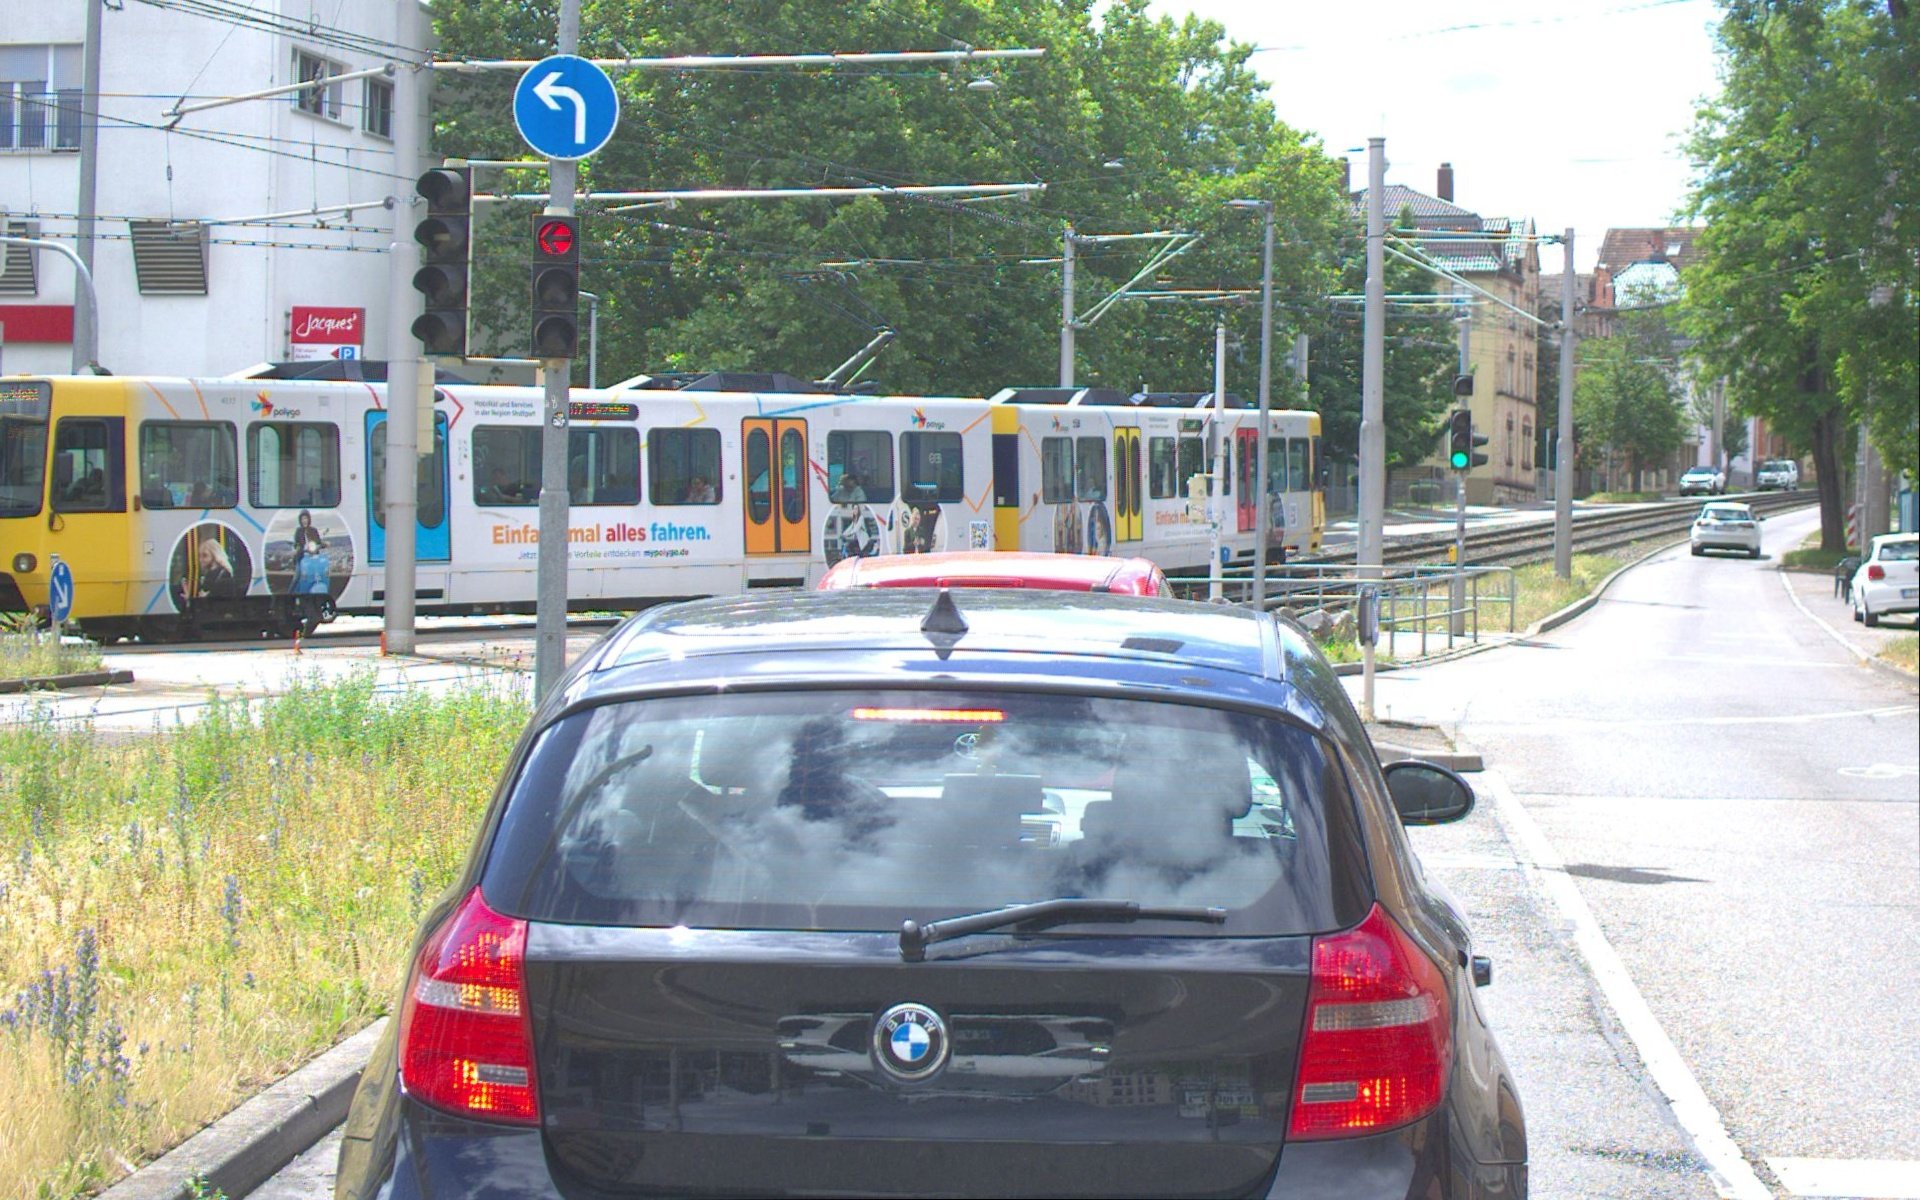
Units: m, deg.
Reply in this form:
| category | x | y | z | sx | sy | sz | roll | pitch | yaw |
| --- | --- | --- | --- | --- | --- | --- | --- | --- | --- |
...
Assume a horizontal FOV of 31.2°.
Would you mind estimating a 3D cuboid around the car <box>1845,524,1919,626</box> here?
| category | x | y | z | sx | sy | sz | roll | pitch | yaw |
| --- | --- | --- | --- | --- | --- | --- | --- | --- | --- |
| car | 15.390 | -0.405 | 55.928 | 1.788 | 1.590 | 3.998 | 0 | 0 | 13 |

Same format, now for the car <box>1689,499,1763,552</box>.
| category | x | y | z | sx | sy | sz | roll | pitch | yaw |
| --- | --- | --- | --- | --- | --- | --- | --- | --- | --- |
| car | 21.501 | -2.089 | 96.430 | 1.816 | 1.463 | 3.997 | 0 | 1 | 16 |

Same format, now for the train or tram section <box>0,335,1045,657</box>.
| category | x | y | z | sx | sy | sz | roll | pitch | yaw |
| --- | --- | --- | --- | --- | --- | --- | --- | --- | --- |
| train or tram section | -6.684 | -1.318 | 49.915 | 3.758 | 3.866 | 20.587 | 0 | 0 | 40 |

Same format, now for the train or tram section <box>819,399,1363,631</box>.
| category | x | y | z | sx | sy | sz | roll | pitch | yaw |
| --- | --- | --- | --- | --- | --- | --- | --- | --- | --- |
| train or tram section | 3.200 | -1.451 | 66.467 | 3.753 | 3.801 | 20.027 | 0 | 0 | 23 |

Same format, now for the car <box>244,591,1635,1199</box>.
| category | x | y | z | sx | sy | sz | roll | pitch | yaw |
| --- | --- | --- | --- | --- | --- | --- | --- | --- | --- |
| car | -0.112 | 0.714 | 6.212 | 1.701 | 1.447 | 4.000 | 0 | 0 | -3 |

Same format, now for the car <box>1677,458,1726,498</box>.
| category | x | y | z | sx | sy | sz | roll | pitch | yaw |
| --- | --- | --- | --- | --- | --- | --- | --- | --- | --- |
| car | 40.507 | -6.652 | 187.737 | 1.996 | 2.007 | 3.996 | 0 | 0 | 21 |

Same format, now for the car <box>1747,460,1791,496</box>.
| category | x | y | z | sx | sy | sz | roll | pitch | yaw |
| --- | --- | --- | --- | --- | --- | --- | --- | --- | --- |
| car | 48.741 | -7.355 | 207.035 | 1.996 | 2.007 | 3.996 | 0 | 0 | 21 |

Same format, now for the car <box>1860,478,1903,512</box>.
| category | x | y | z | sx | sy | sz | roll | pitch | yaw |
| --- | --- | --- | --- | --- | --- | --- | --- | --- | --- |
| car | 42.280 | -4.806 | 157.746 | 1.816 | 1.463 | 3.997 | 3 | 2 | 14 |

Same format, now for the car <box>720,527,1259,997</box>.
| category | x | y | z | sx | sy | sz | roll | pitch | yaw |
| --- | --- | --- | --- | --- | --- | --- | --- | --- | --- |
| car | 0.259 | 0.503 | 12.796 | 1.625 | 1.468 | 3.999 | 0 | 0 | 6 |
